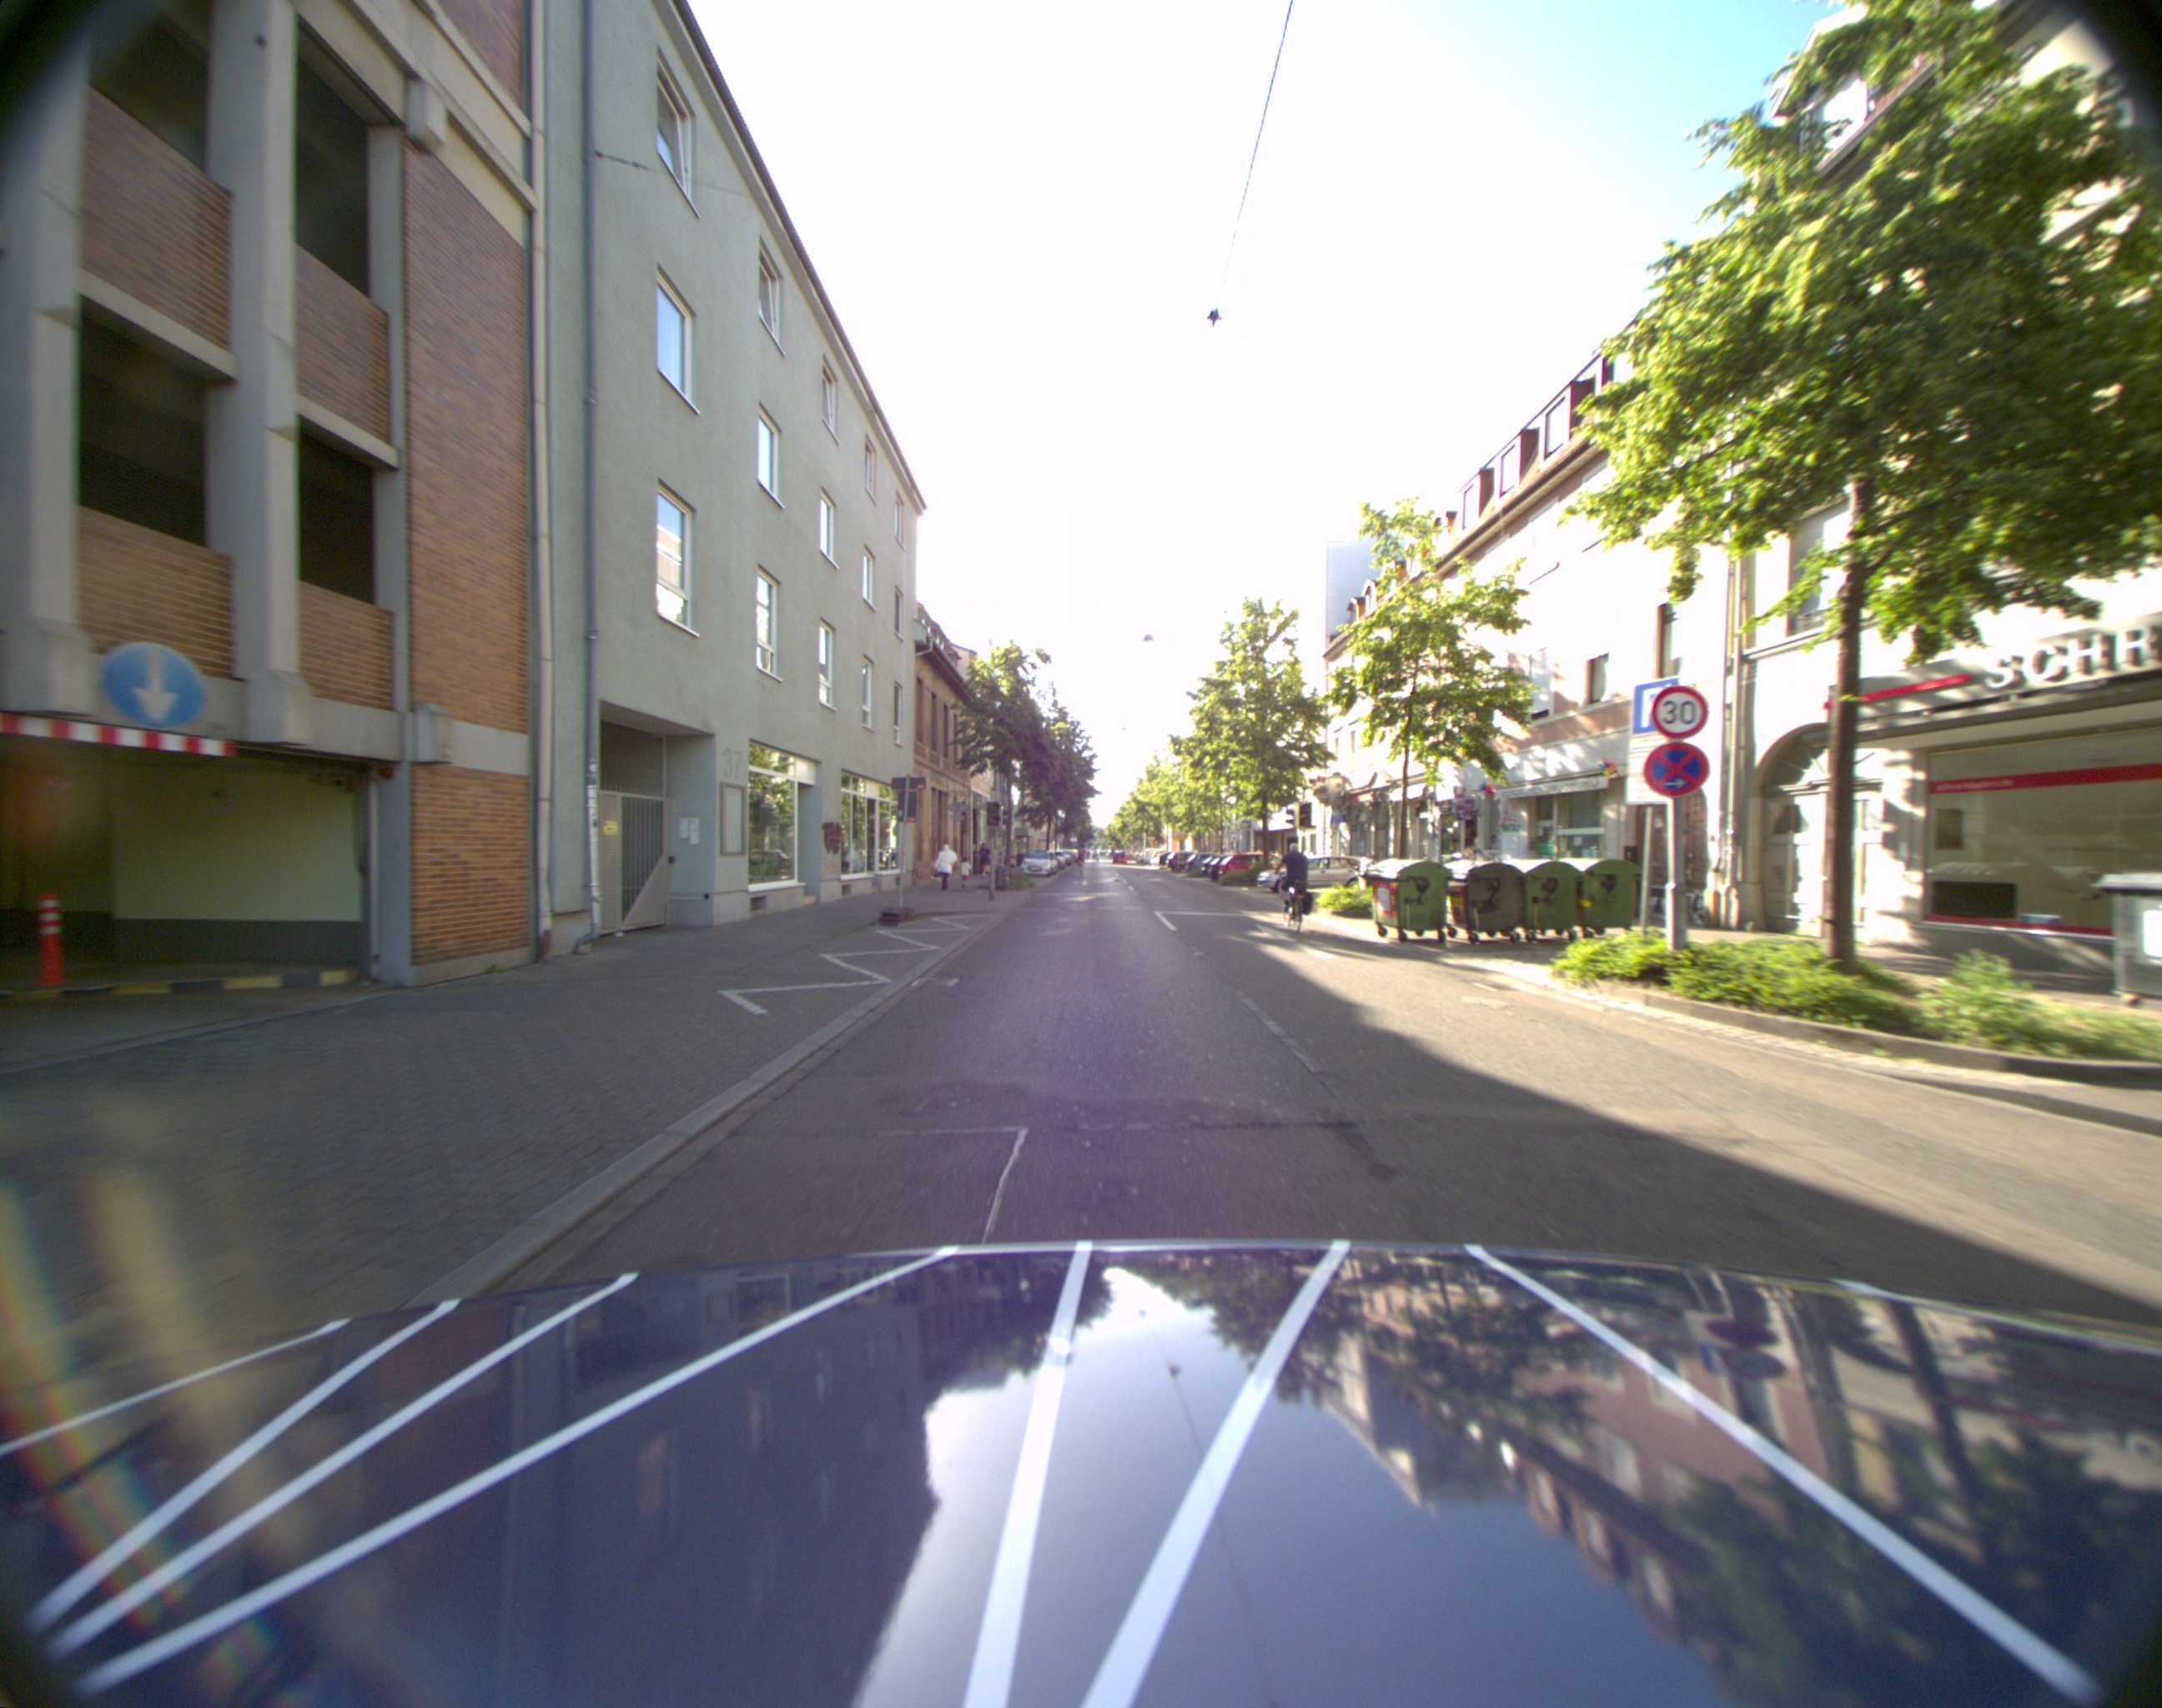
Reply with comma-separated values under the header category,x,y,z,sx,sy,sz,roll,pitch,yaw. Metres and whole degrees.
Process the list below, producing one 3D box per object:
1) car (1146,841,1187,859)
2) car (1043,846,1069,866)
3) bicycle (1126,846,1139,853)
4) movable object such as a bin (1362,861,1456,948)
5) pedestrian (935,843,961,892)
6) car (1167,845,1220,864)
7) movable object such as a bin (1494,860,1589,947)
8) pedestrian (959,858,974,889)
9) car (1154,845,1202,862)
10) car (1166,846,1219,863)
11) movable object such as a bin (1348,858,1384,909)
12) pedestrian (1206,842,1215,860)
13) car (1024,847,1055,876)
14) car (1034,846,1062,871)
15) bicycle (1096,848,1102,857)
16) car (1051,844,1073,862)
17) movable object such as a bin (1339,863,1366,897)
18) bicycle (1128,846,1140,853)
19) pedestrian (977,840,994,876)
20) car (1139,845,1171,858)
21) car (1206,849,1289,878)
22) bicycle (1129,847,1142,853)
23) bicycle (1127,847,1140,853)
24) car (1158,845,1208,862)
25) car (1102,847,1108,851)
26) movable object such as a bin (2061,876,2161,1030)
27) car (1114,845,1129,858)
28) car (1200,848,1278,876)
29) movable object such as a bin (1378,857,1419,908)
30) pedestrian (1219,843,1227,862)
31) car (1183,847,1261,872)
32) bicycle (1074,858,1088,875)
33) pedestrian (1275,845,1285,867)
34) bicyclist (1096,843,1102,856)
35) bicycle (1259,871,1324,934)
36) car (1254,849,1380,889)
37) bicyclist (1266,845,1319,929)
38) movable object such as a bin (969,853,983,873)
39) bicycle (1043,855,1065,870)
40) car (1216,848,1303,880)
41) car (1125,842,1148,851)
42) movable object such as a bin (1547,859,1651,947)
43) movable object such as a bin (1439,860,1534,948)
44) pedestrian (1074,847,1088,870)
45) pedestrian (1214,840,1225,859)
category,x,y,z,sx,sy,sz,roll,pitch,yaw
car,9.137,-0.430,81.382,4.115,1.825,2.038,-1,1,1
car,-2.024,0.117,62.961,1.887,1.518,4.233,3,1,0
bicycle,8.523,-0.707,125.702,2.006,1.023,0.473,-1,1,-12
movable object such as a bin,5.932,0.874,13.837,1.044,1.463,1.452,1,1,0
pedestrian,-4.410,0.429,25.254,0.582,1.550,1.020,3,1,0
car,8.654,0.057,58.449,3.790,1.450,1.780,0,1,-2
movable object such as a bin,8.206,0.857,13.591,0.966,1.463,1.143,1,1,0
pedestrian,-4.059,0.679,26.952,0.394,1.027,0.739,3,1,0
car,9.168,-0.070,72.411,4.377,1.561,1.946,0,1,1
car,9.564,0.047,65.284,4.257,1.450,1.979,0,1,-3
movable object such as a bin,7.734,0.794,20.636,0.636,1.333,0.805,1,1,0
pedestrian,12.131,-0.317,71.249,0.566,1.617,0.727,-4,2,-1
car,-2.401,0.403,44.478,1.618,1.520,3.060,2,1,0
car,-2.177,0.259,50.909,1.618,1.520,4.234,4,1,0
bicycle,2.355,-0.218,100.411,0.727,1.162,2.197,0,1,2
car,-1.869,-0.114,76.523,1.998,1.680,4.516,4,1,0
movable object such as a bin,8.686,0.830,24.329,0.532,1.063,0.805,1,1,0
bicycle,8.721,-0.711,124.773,2.006,1.023,0.473,-1,1,-12
pedestrian,-4.785,0.175,38.089,0.624,1.755,0.771,3,1,2
car,9.189,-0.321,94.208,3.788,1.455,1.709,-1,1,-2
car,8.397,0.461,38.568,3.850,1.420,1.789,0,1,2
bicycle,8.933,-0.684,123.764,2.006,1.023,0.473,-1,1,-12
bicycle,8.614,-0.699,125.278,2.006,1.023,0.473,-1,1,-12
car,9.349,-0.033,69.751,4.377,1.561,1.980,0,1,1
car,7.914,-1.697,250.821,1.835,1.410,3.833,1,1,1
movable object such as a bin,10.077,0.895,6.730,1.044,1.337,1.314,1,1,0
car,4.730,-0.308,89.153,1.662,1.526,3.760,2,1,1
car,8.500,0.404,41.112,3.928,1.477,1.771,0,1,2
movable object such as a bin,8.598,0.771,20.612,0.756,1.333,0.805,1,1,0
pedestrian,12.898,-0.139,68.934,0.700,1.787,0.746,0,1,13
car,8.787,0.347,47.573,4.504,1.450,1.790,-1,1,-1
bicycle,-0.009,0.736,46.237,0.805,0.958,1.996,-1,0,0
pedestrian,12.870,0.122,49.134,0.509,1.400,0.825,-1,1,5
bicyclist,2.348,-0.605,100.289,0.727,1.690,1.282,0,1,1
bicycle,4.265,0.955,15.546,0.707,1.140,1.967,1,1,-2
car,8.785,0.544,28.524,4.212,1.460,1.740,0,1,3
bicyclist,4.268,0.642,15.389,0.698,1.643,1.035,1,1,-3
movable object such as a bin,-5.585,0.471,40.486,0.590,1.034,0.722,3,1,2
bicycle,-2.147,0.667,59.680,1.626,1.007,0.611,5,1,-1
car,8.408,0.475,36.033,3.757,1.460,1.739,0,1,1
car,10.461,-1.353,143.649,4.134,1.671,1.999,0,1,0
movable object such as a bin,9.266,0.849,13.650,1.044,1.463,1.143,1,1,0
movable object such as a bin,7.151,0.859,13.469,1.044,1.463,1.143,1,1,0
pedestrian,-0.015,0.268,46.177,0.803,1.381,0.931,-1,1,0
pedestrian,13.003,-0.432,71.256,0.776,1.756,0.763,-4,2,-1
